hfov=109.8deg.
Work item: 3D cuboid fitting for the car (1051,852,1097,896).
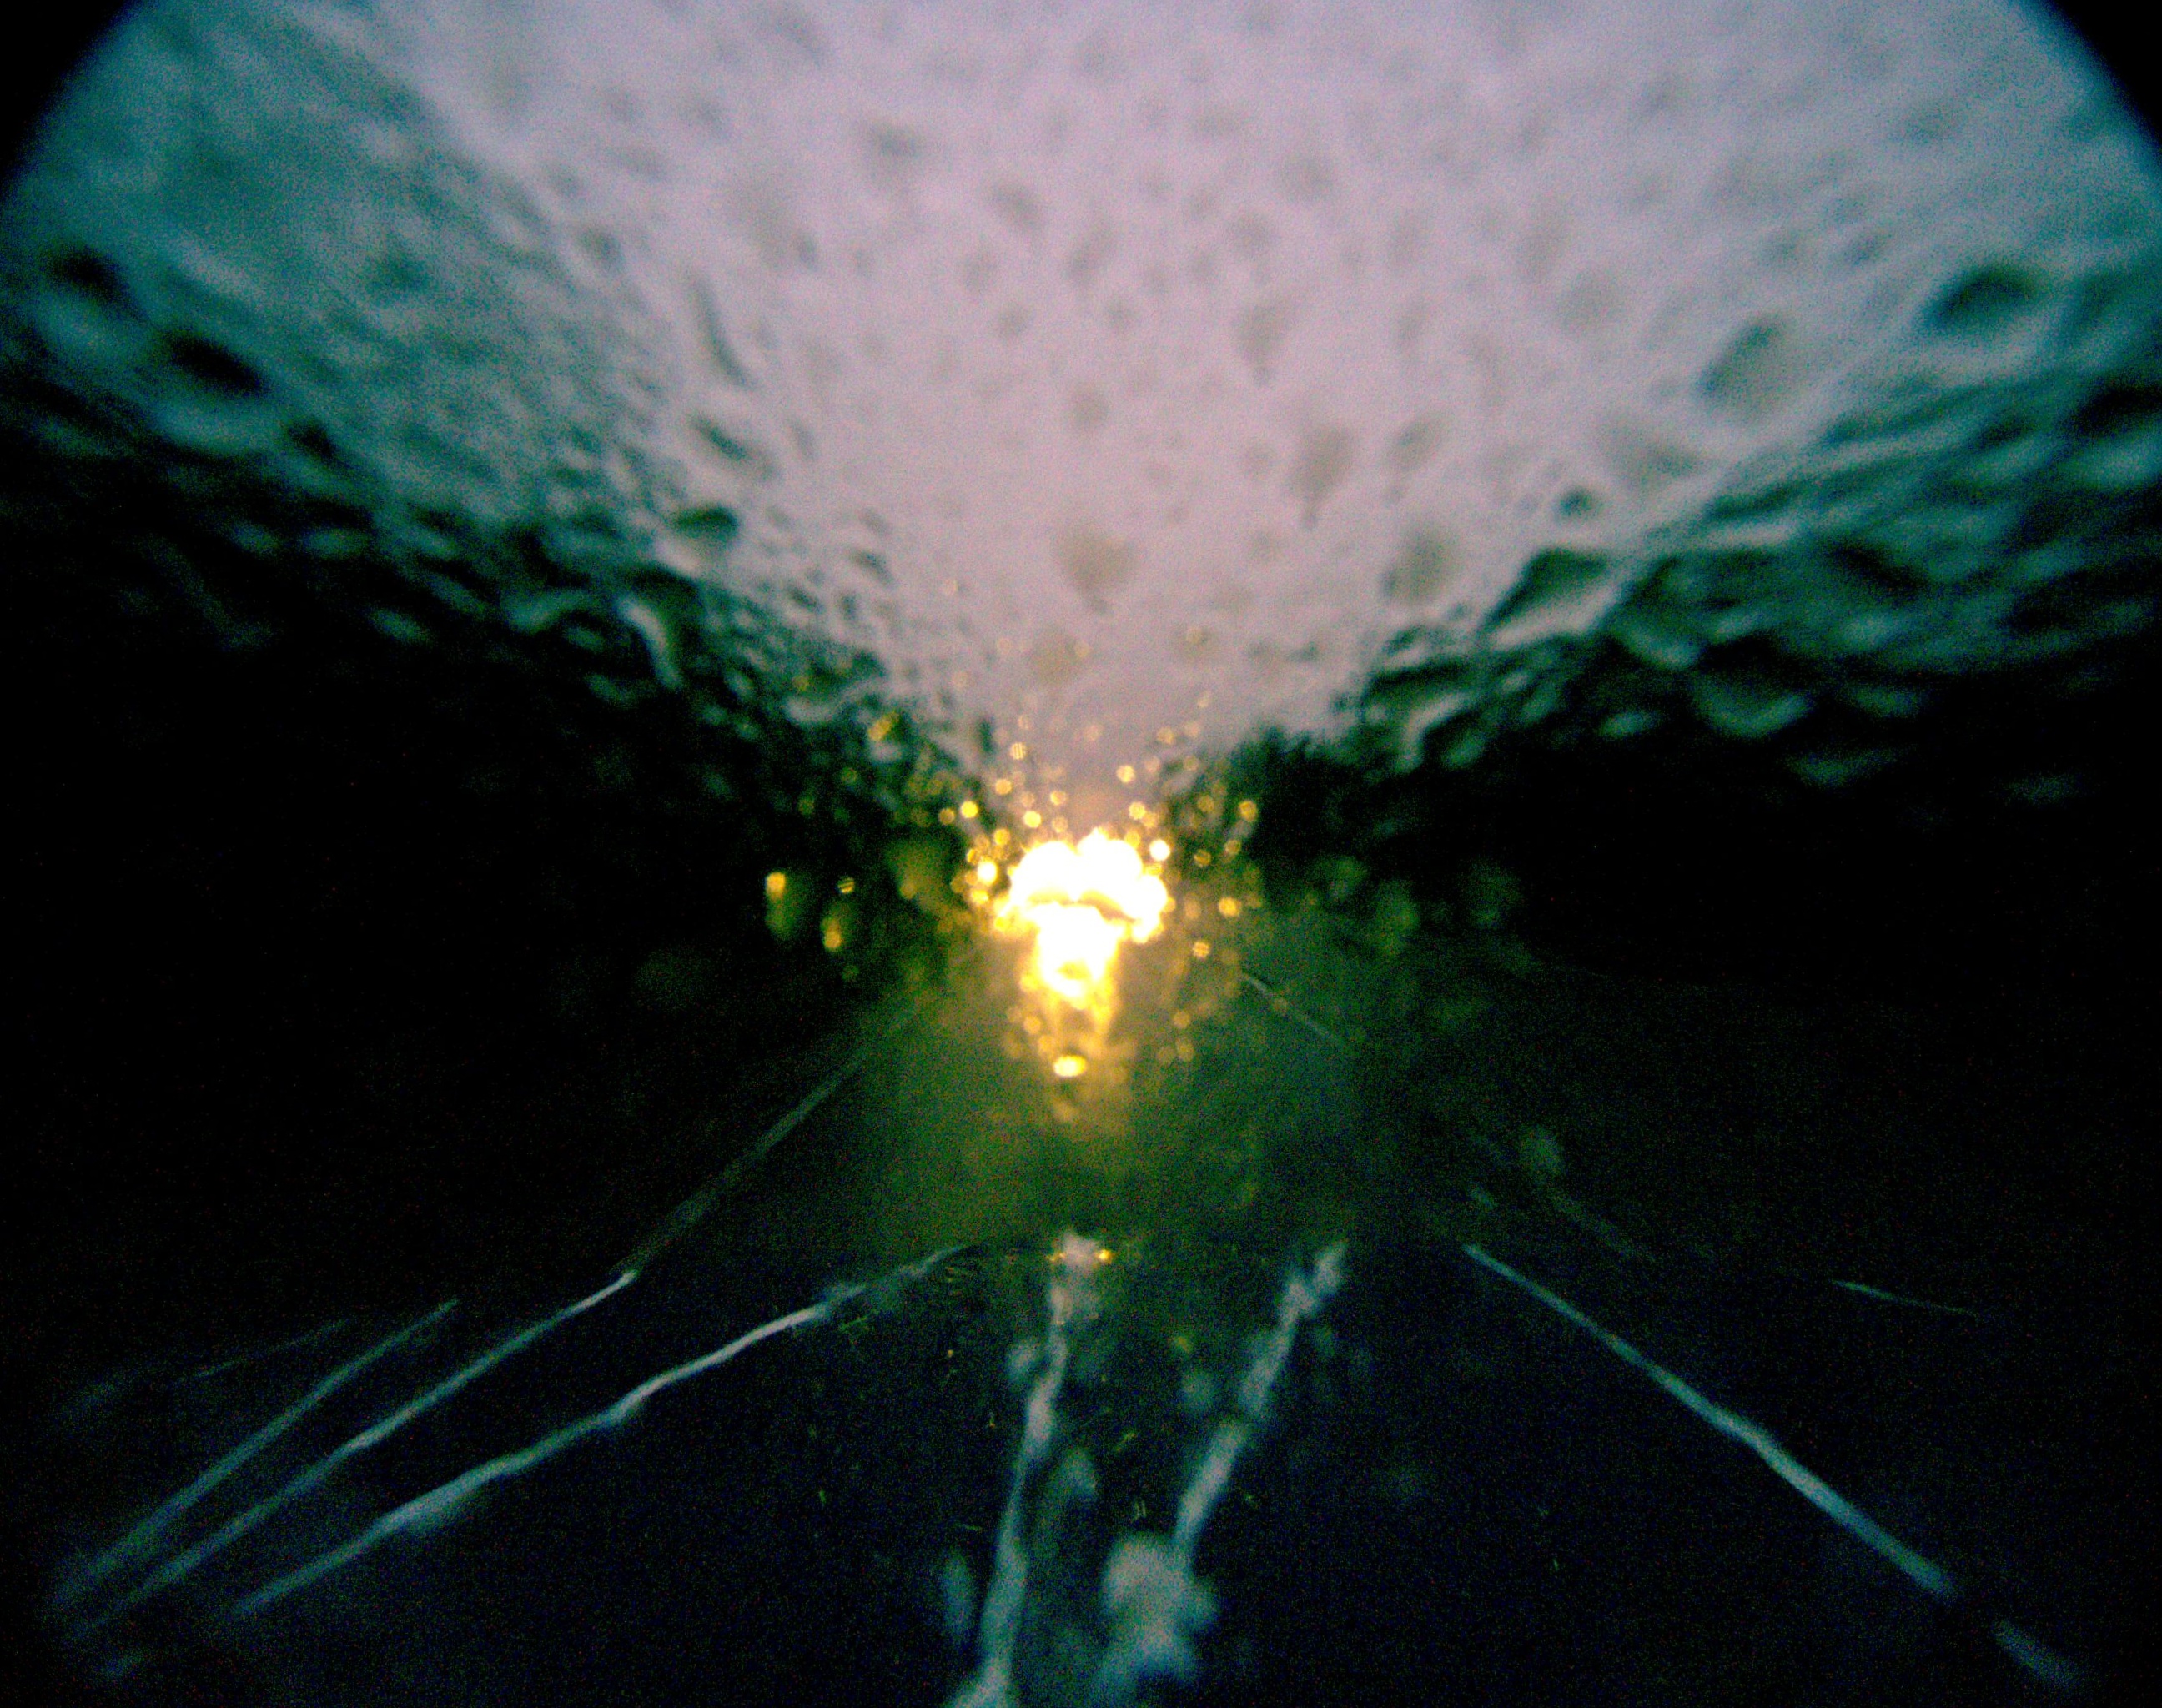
[{"bbox_3d":[-0.228,0.762,31.316,1.573,1.701,4.001,-1,0,4],"label":"car"}]
